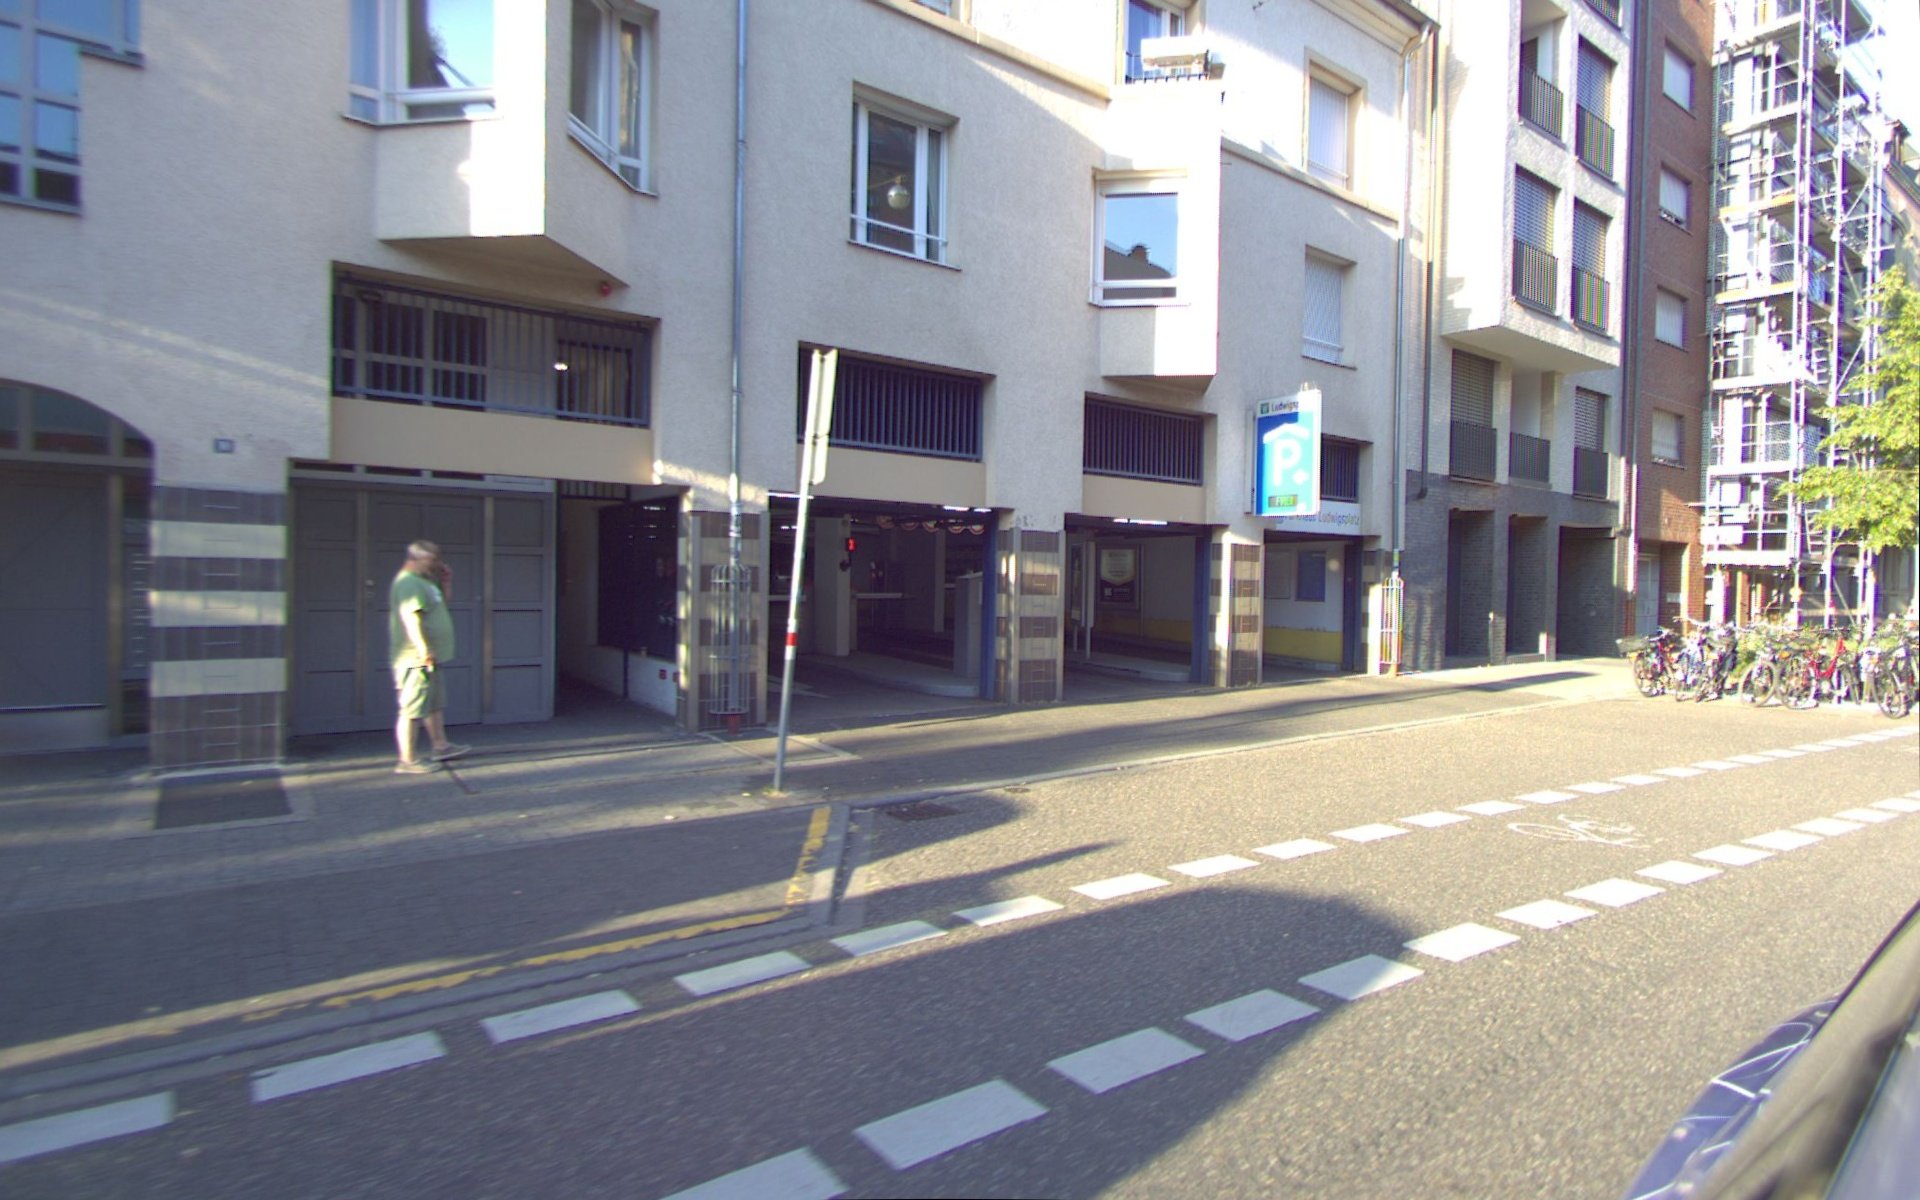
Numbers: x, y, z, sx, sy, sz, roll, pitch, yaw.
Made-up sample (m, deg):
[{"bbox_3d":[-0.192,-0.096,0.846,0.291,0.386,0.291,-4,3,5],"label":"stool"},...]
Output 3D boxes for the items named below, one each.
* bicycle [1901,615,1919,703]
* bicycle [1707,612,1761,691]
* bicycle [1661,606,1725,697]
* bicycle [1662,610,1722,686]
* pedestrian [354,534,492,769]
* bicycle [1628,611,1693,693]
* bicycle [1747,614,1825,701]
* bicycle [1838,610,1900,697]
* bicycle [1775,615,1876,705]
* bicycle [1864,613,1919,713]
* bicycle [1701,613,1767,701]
[{"bbox_3d":[13.102,0.779,13.645,1.496,1.114,0.383,0,1,-39],"label":"bicycle"},{"bbox_3d":[11.714,0.752,15.297,1.497,1.114,0.382,0,2,-43],"label":"bicycle"},{"bbox_3d":[10.416,0.707,14.368,1.496,1.204,0.382,0,1,-40],"label":"bicycle"},{"bbox_3d":[11.565,0.734,15.983,1.496,1.114,0.382,0,1,-40],"label":"bicycle"},{"bbox_3d":[-4.010,0.357,7.608,0.594,1.667,0.813,1,1,0],"label":"pedestrian"},{"bbox_3d":[10.397,0.743,15.002,1.496,1.114,0.382,-1,2,-40],"label":"bicycle"},{"bbox_3d":[11.256,0.756,13.776,1.535,1.114,0.383,0,1,-35],"label":"bicycle"},{"bbox_3d":[12.810,0.721,14.284,0.380,1.114,1.505,2,1,33],"label":"bicycle"},{"bbox_3d":[11.291,0.763,13.189,1.491,1.121,0.373,0,1,-24],"label":"bicycle"},{"bbox_3d":[11.797,0.757,12.541,1.533,1.155,0.364,0,2,-28],"label":"bicycle"},{"bbox_3d":[10.692,0.762,13.959,1.496,1.114,0.382,-1,1,-39],"label":"bicycle"}]
